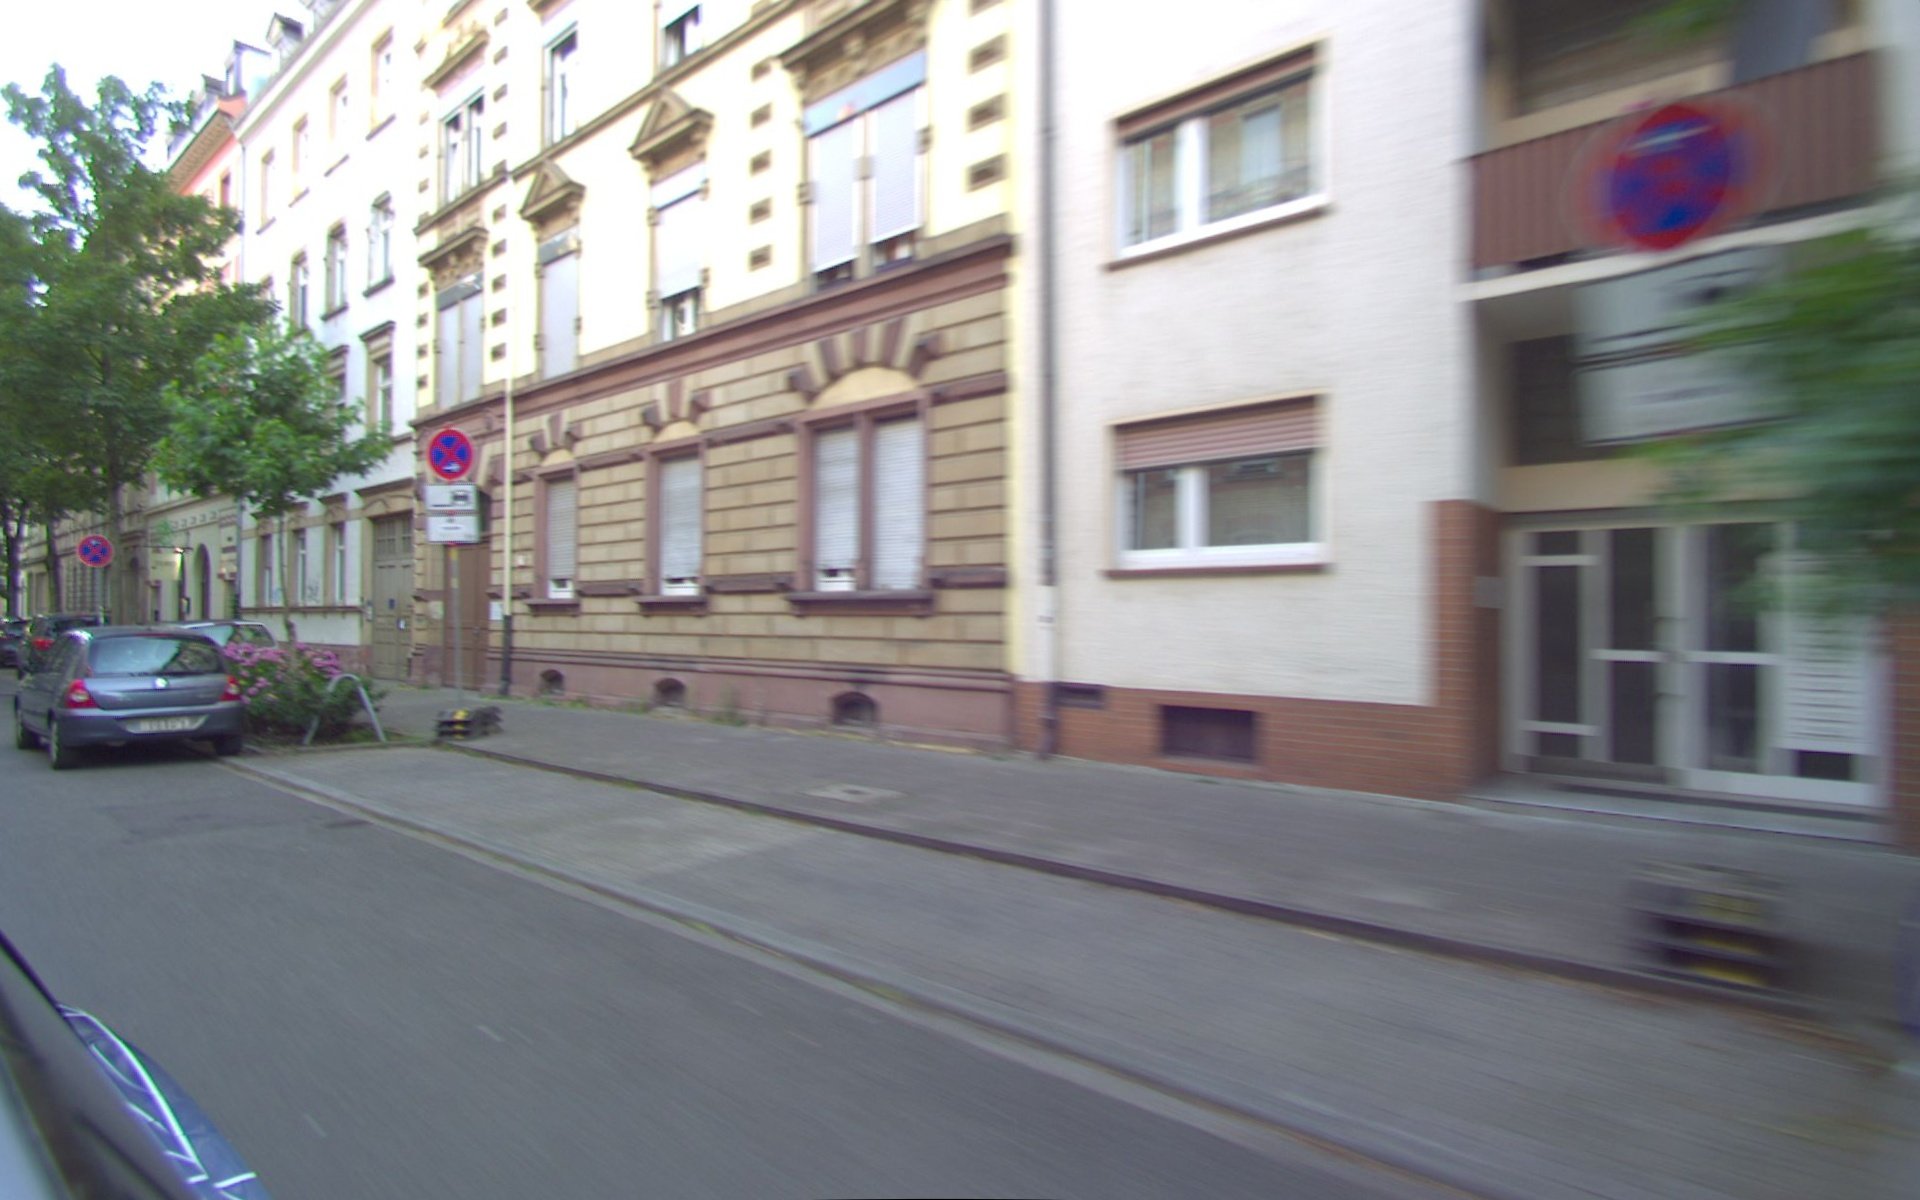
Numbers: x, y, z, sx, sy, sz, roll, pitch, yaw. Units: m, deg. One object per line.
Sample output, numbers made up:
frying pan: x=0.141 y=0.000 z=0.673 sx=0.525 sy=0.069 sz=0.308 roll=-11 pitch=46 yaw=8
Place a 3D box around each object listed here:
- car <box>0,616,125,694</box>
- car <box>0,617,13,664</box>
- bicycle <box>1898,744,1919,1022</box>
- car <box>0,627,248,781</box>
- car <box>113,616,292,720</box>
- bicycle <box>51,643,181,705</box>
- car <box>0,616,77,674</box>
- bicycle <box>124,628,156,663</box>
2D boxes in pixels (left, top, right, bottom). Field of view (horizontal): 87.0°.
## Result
car: x=-20.640 y=1.202 z=23.225 sx=4.076 sy=1.592 sz=1.688 roll=-2 pitch=0 yaw=42
car: x=-34.586 y=1.426 z=35.552 sx=3.861 sy=1.619 sz=1.658 roll=-1 pitch=-1 yaw=43
bicycle: x=3.235 y=0.943 z=2.579 sx=0.379 sy=0.914 sz=1.698 roll=0 pitch=0 yaw=11
car: x=-9.487 y=1.031 z=11.361 sx=3.751 sy=1.431 sz=1.564 roll=-1 pitch=-2 yaw=41
car: x=-12.213 y=1.006 z=16.252 sx=3.564 sy=1.447 sz=1.571 roll=-1 pitch=0 yaw=41
bicycle: x=-15.736 y=1.375 z=18.909 sx=1.800 sy=1.093 sz=0.669 roll=0 pitch=0 yaw=-6
car: x=-27.230 y=1.262 z=29.368 sx=4.682 sy=1.529 sz=1.787 roll=-1 pitch=0 yaw=41
bicycle: x=-26.586 y=1.459 z=32.801 sx=1.794 sy=1.106 sz=0.520 roll=-1 pitch=-2 yaw=42
